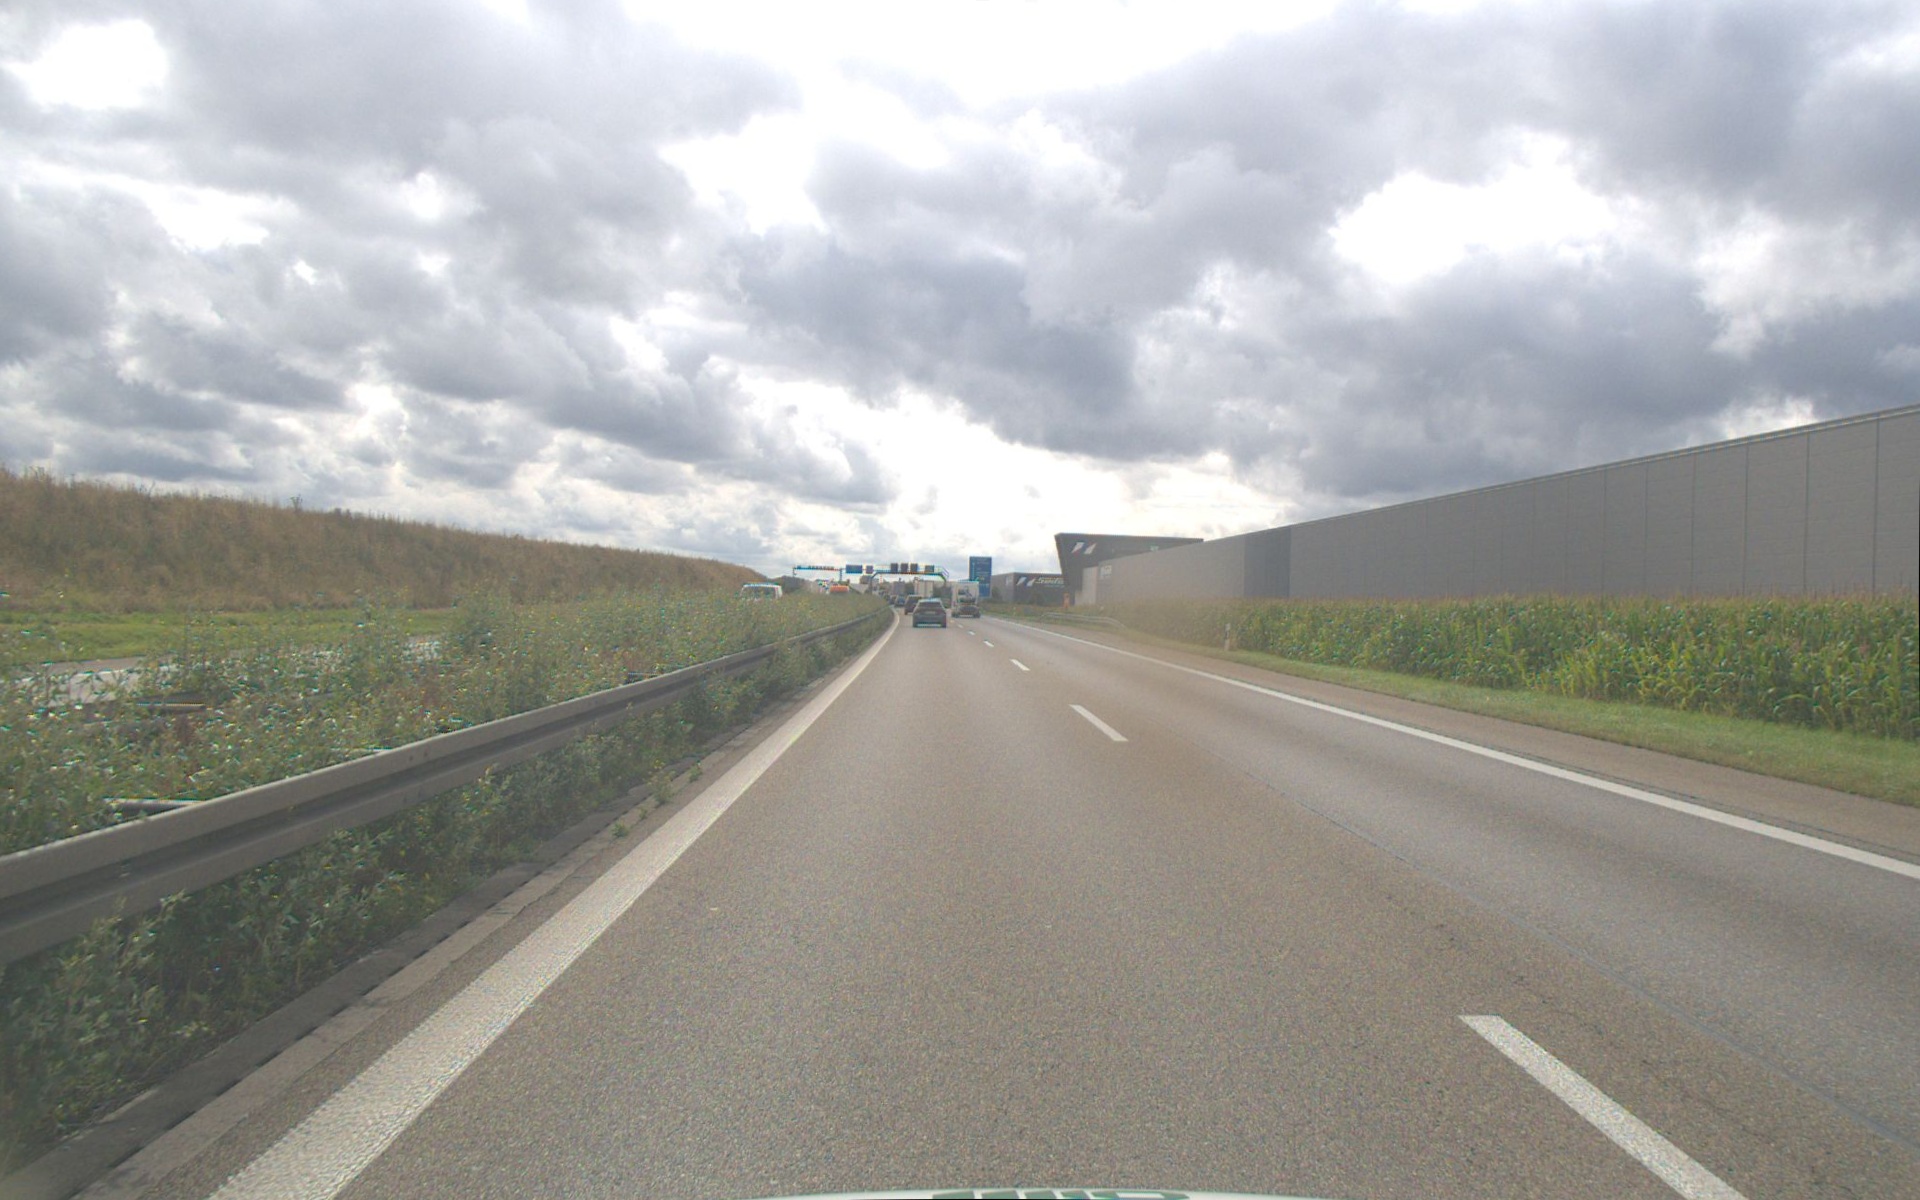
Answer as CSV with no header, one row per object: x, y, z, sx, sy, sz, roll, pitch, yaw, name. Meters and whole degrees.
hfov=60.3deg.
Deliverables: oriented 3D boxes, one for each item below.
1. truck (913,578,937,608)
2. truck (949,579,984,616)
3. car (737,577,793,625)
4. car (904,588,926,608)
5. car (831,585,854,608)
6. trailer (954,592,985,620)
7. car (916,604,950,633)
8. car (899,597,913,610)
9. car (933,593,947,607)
-5.495,-1.030,260.535,3.273,4.613,8.010,1,0,-4,truck
0.502,-0.202,138.521,2.433,3.002,5.810,1,0,-4,truck
-8.860,0.044,75.694,1.953,2.049,5.530,1,0,-1,car
-4.115,-0.167,149.884,1.906,1.714,3.998,1,0,-2,car
-11.871,-0.352,167.494,2.081,2.306,5.451,1,0,-1,car
0.742,0.463,131.662,2.291,2.173,3.998,1,0,-2,trailer
-1.465,0.965,87.612,1.711,1.478,3.998,1,0,-2,car
-7.593,0.468,233.247,1.904,1.806,3.694,1,0,-3,car
-2.568,0.043,212.182,1.765,1.714,3.998,1,1,-3,car
